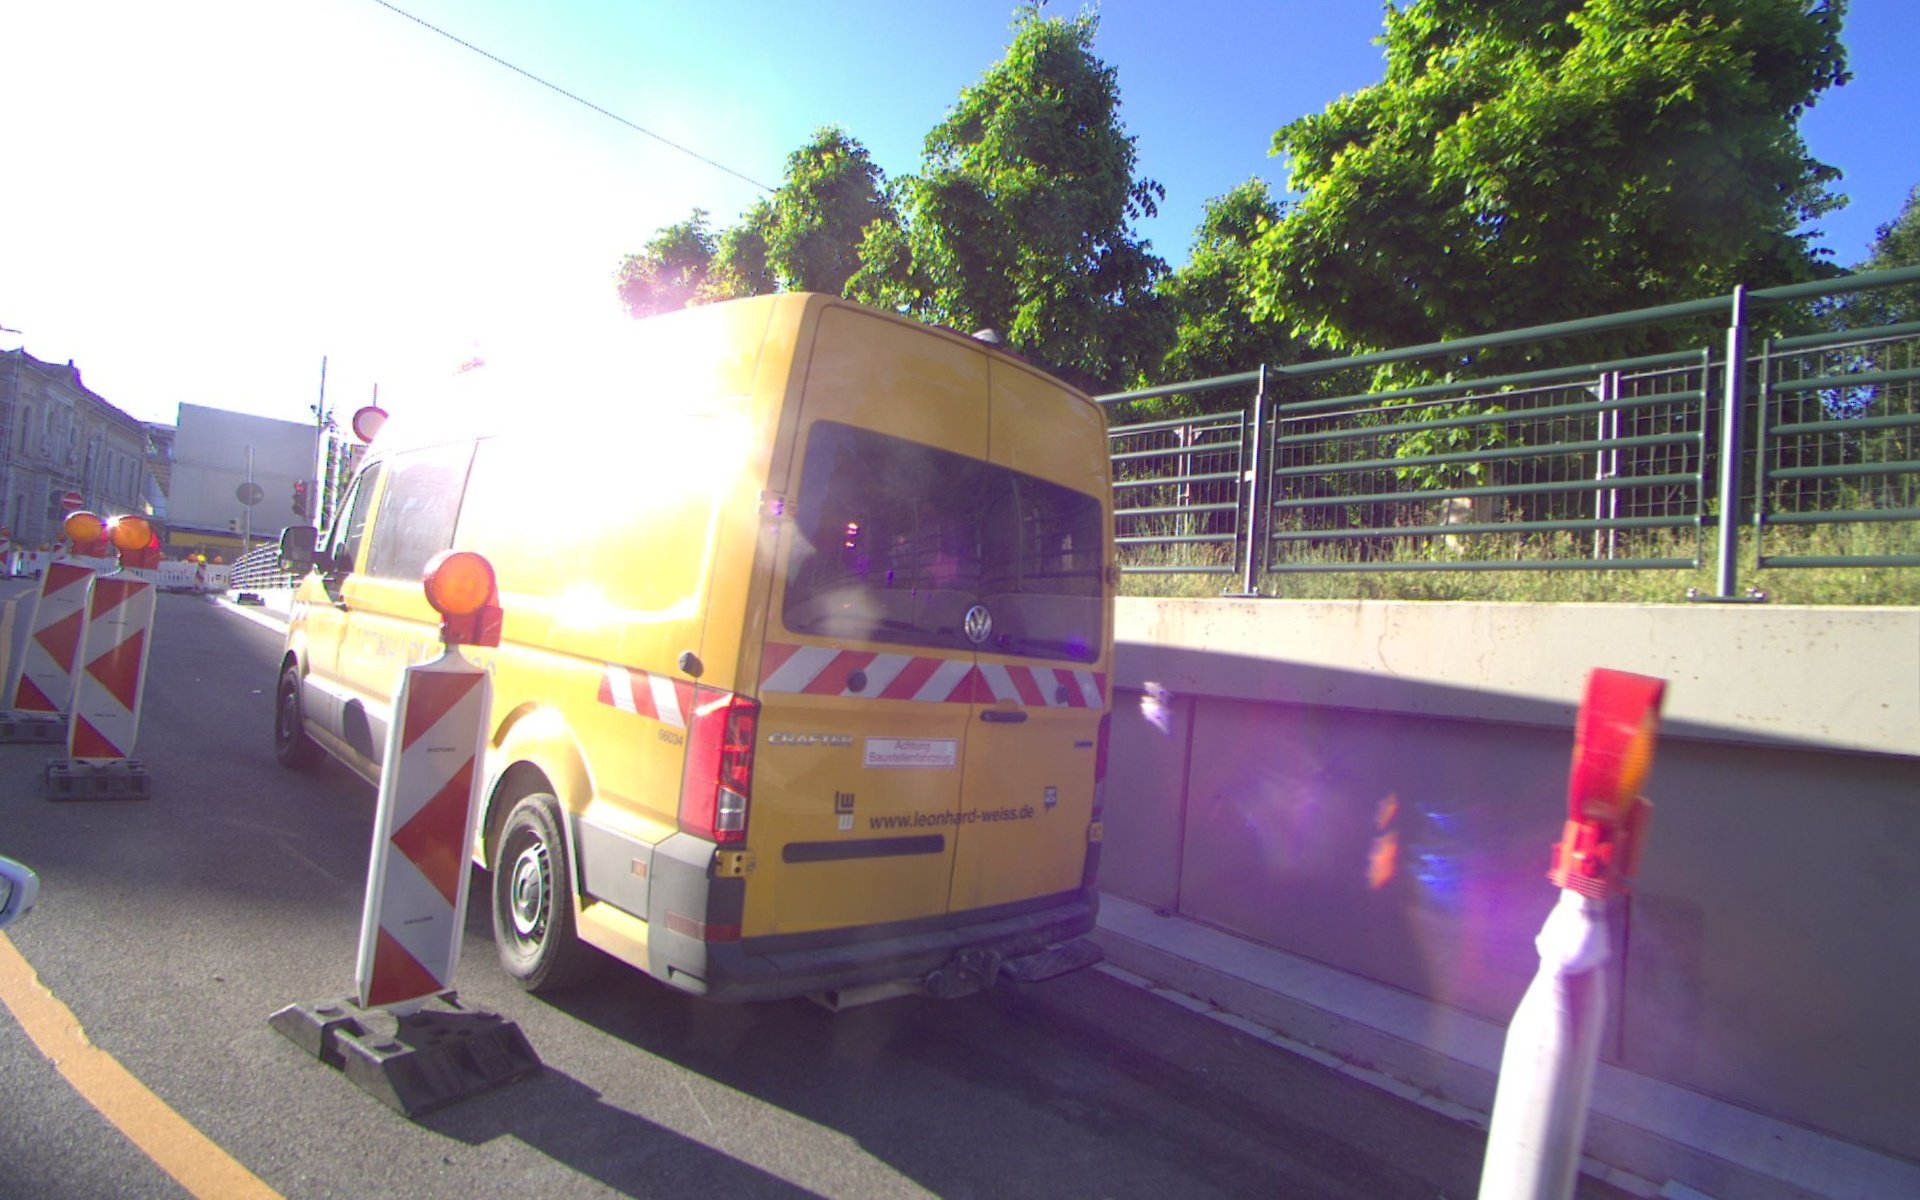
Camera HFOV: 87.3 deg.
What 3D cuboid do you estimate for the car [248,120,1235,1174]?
[{"bbox_3d":[-2.140,0.025,5.784,2.105,2.656,6.903,7,-1,-43],"label":"car"}]

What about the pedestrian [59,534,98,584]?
[{"bbox_3d":[-32.736,-1.505,37.381,0.969,1.749,0.790,4,-2,-39],"label":"pedestrian"}]

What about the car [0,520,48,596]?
[{"bbox_3d":[-22.383,-1.056,22.339,4.035,1.568,1.778,4,-2,27],"label":"car"}]
